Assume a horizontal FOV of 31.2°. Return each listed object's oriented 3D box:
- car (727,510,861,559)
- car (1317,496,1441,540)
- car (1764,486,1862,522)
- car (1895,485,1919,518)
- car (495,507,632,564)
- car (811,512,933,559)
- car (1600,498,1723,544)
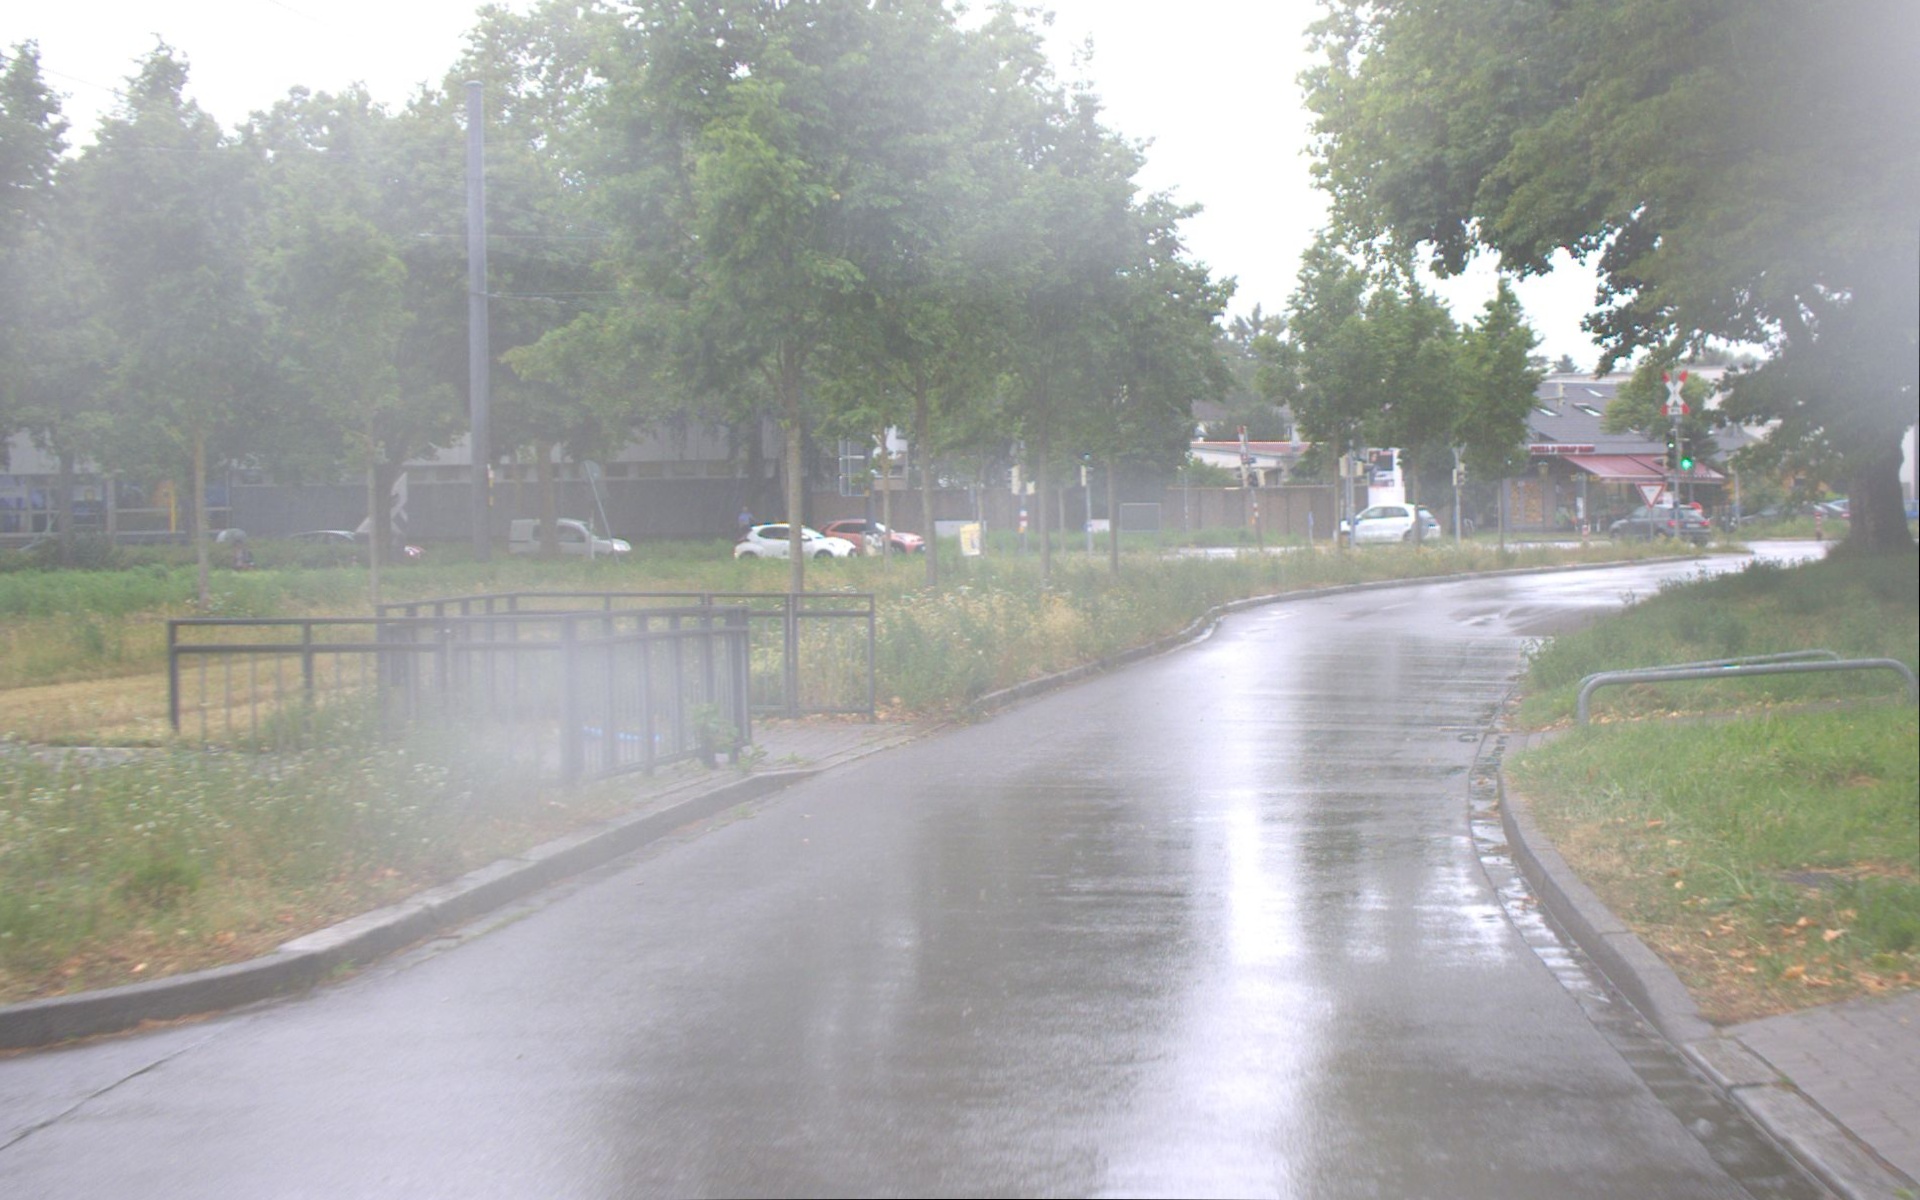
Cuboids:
[{"bbox_3d":[-5.469,-2.154,113.166,4.068,1.494,1.651,-1,1,14],"label":"car"},{"bbox_3d":[14.583,-2.840,119.573,3.992,1.415,1.536,-1,2,24],"label":"car"},{"bbox_3d":[36.613,-4.119,147.578,3.756,1.437,1.760,-1,1,28],"label":"car"},{"bbox_3d":[44.639,-4.526,156.680,3.753,1.437,1.761,-1,1,19],"label":"car"},{"bbox_3d":[-13.291,-2.179,115.407,4.211,1.790,1.651,-1,2,12],"label":"car"},{"bbox_3d":[-2.967,-2.174,116.486,3.820,1.494,1.651,-1,1,14],"label":"car"},{"bbox_3d":[22.647,-2.556,111.045,1.684,1.415,3.815,-3,2,-33],"label":"car"}]
